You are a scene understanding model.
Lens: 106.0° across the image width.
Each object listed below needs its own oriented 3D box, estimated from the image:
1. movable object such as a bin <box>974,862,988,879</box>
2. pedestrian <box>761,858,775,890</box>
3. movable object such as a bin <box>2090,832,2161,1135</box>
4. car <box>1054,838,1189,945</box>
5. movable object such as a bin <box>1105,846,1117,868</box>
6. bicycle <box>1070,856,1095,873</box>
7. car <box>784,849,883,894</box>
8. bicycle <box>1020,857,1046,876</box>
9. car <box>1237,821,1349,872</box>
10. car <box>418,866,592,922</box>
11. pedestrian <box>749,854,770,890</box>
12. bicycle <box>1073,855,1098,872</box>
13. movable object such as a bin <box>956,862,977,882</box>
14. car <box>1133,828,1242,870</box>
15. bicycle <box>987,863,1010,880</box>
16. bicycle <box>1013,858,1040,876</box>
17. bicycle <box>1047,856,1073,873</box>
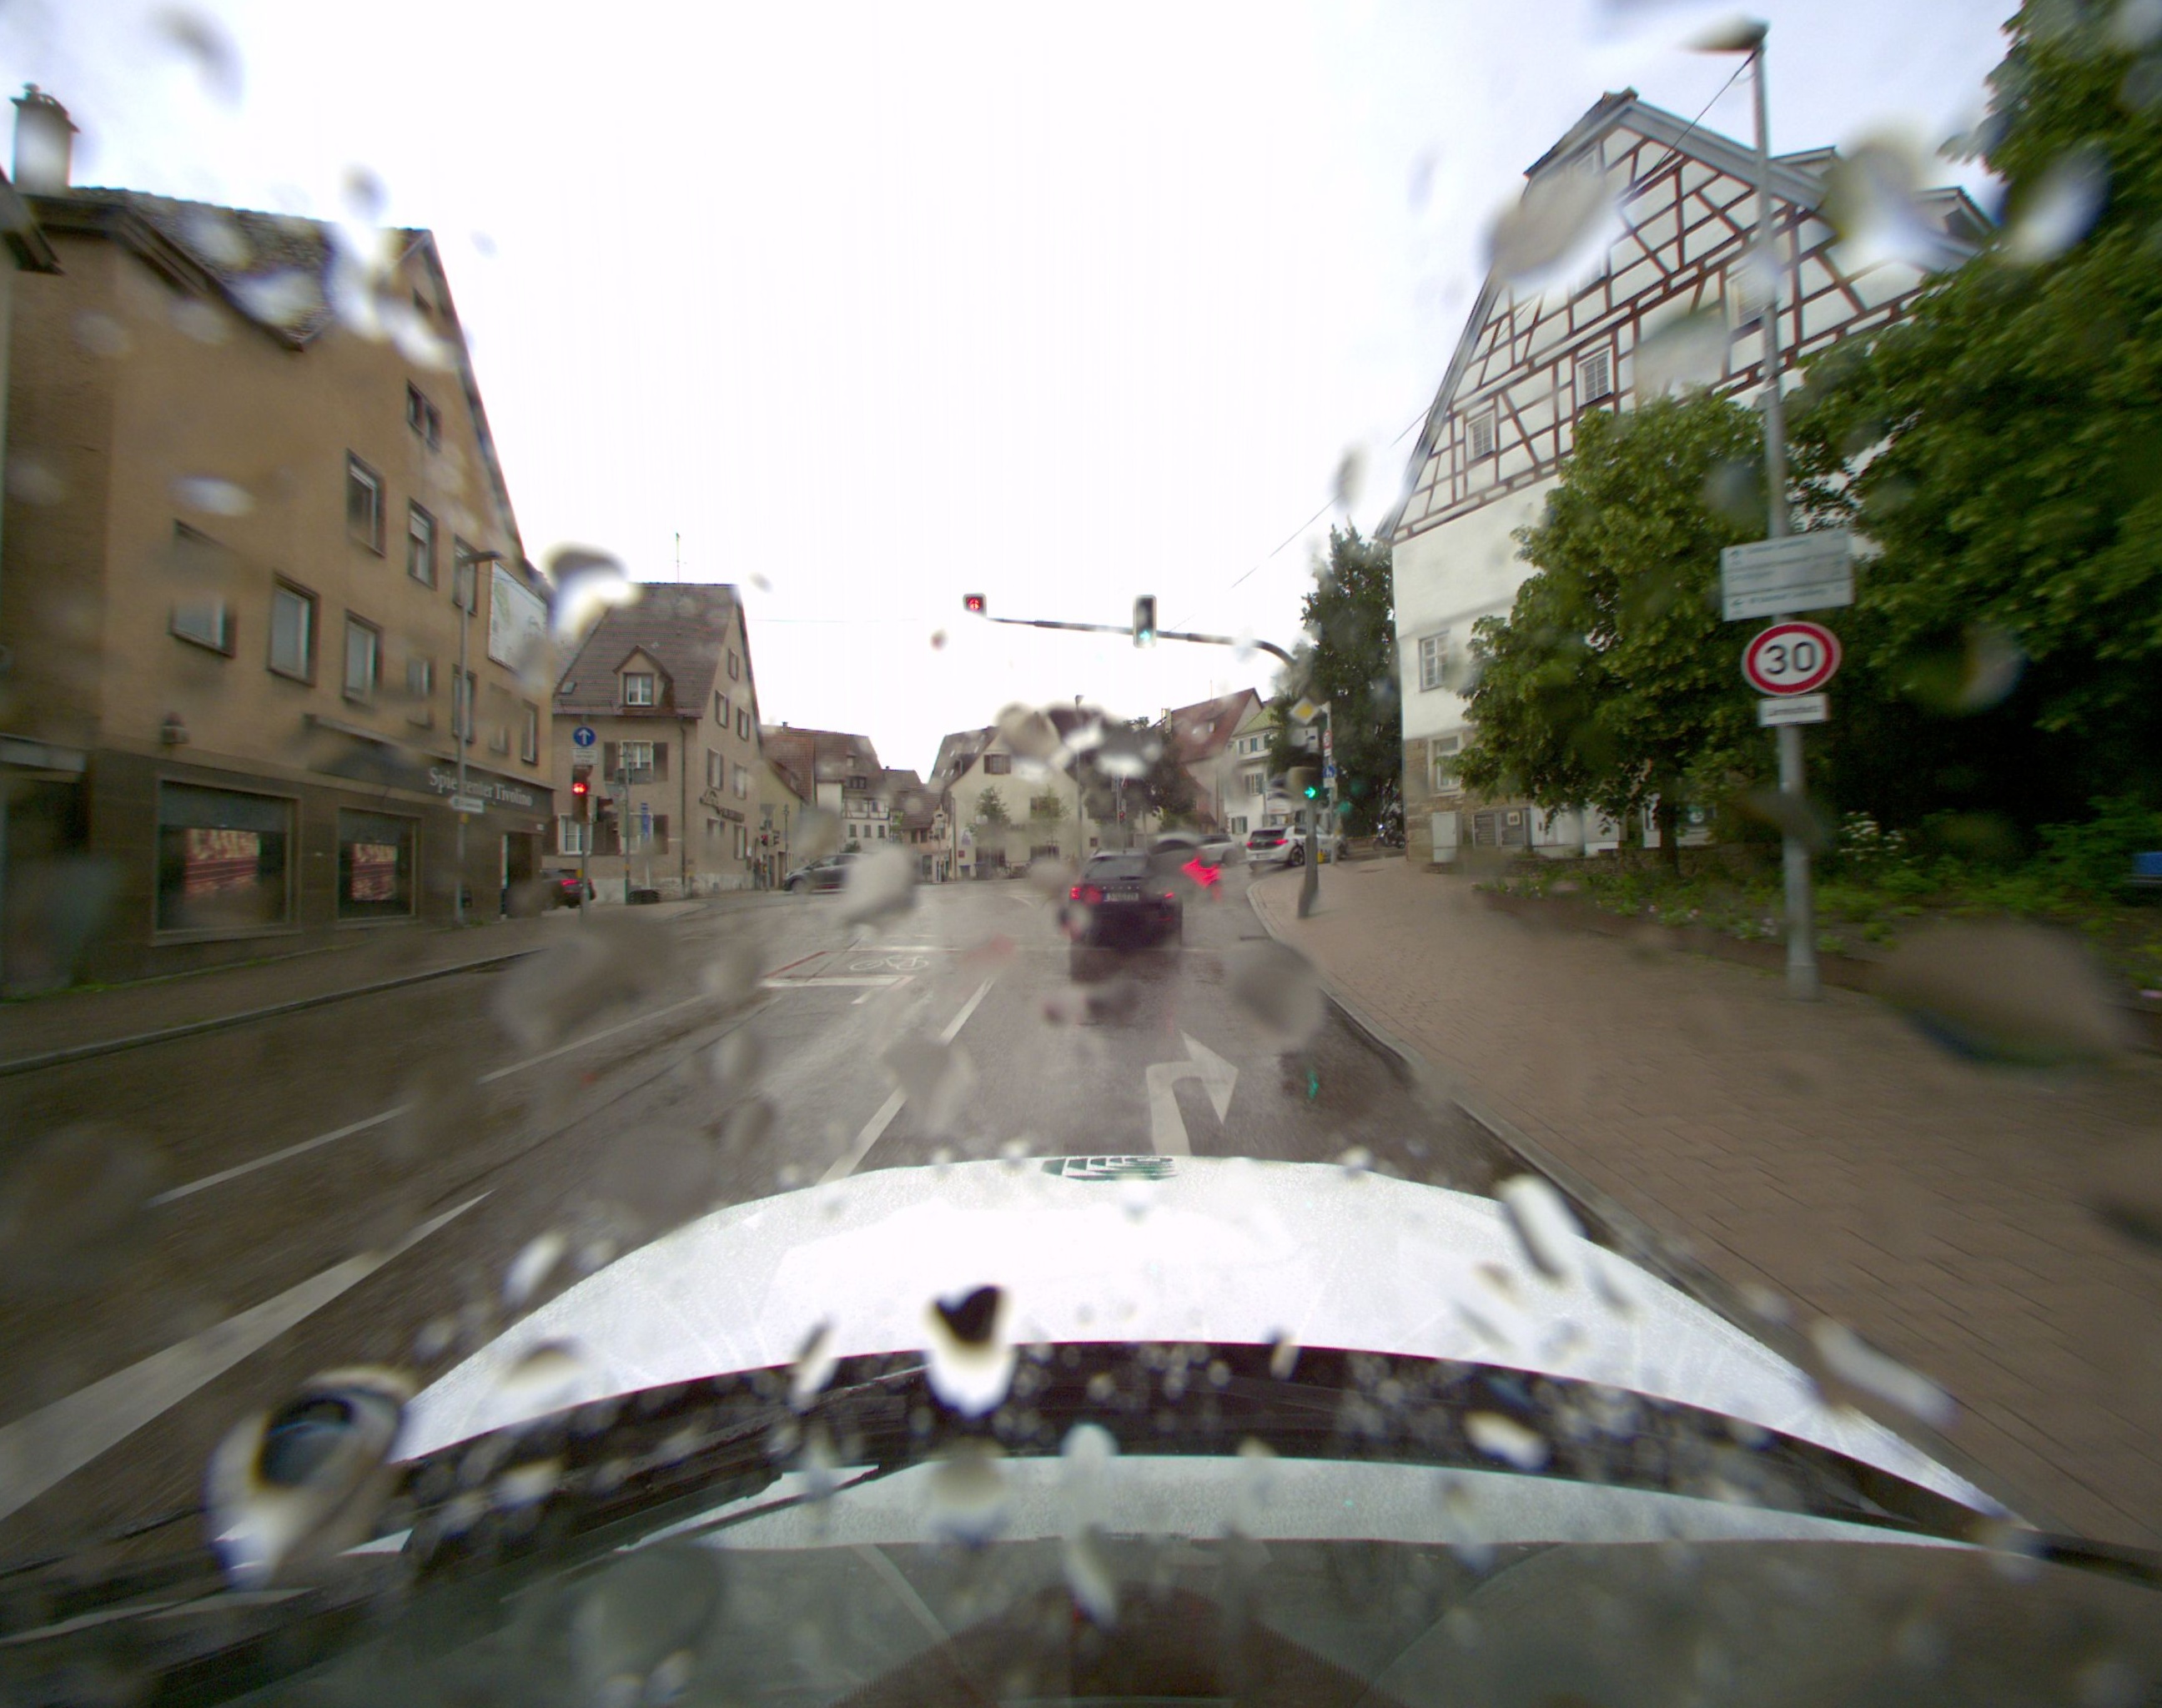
[{"bbox_3d":[-5.572,0.928,45.265,0.590,0.901,0.579,-1,0,-29],"label":"movable object such as a bin"},{"bbox_3d":[-17.306,1.103,45.006,0.553,1.729,0.537,-1,-2,-4],"label":"pedestrian"},{"bbox_3d":[5.180,0.541,3.101,1.148,1.313,1.189,-2,-1,8],"label":"movable object such as a bin"},{"bbox_3d":[0.757,0.518,14.038,1.878,1.448,4.363,-4,1,5],"label":"car"},{"bbox_3d":[1.794,0.190,48.560,0.681,1.276,0.747,0,0,-4],"label":"movable object such as a bin"},{"bbox_3d":[0.076,0.584,47.452,1.474,0.912,0.389,-2,2,-31],"label":"bicycle"},{"bbox_3d":[-9.519,0.646,31.513,3.377,1.477,1.531,-3,1,-8],"label":"car"},{"bbox_3d":[-2.634,0.691,44.895,1.478,0.912,0.388,-4,1,-43],"label":"bicycle"},{"bbox_3d":[7.256,-0.272,27.723,1.839,1.473,4.024,-3,1,45],"label":"car"},{"bbox_3d":[-20.882,1.404,29.703,4.733,1.588,1.824,-4,0,-10],"label":"car"},{"bbox_3d":[-17.013,0.962,43.113,0.801,1.830,0.708,-5,1,-28],"label":"pedestrian"},{"bbox_3d":[0.253,0.568,47.070,1.474,0.912,0.389,-2,2,-31],"label":"bicycle"},{"bbox_3d":[-6.174,0.972,43.772,0.717,0.926,0.793,-5,2,24],"label":"movable object such as a bin"},{"bbox_3d":[4.428,-0.209,33.957,3.995,1.431,1.989,-4,1,-16],"label":"car"},{"bbox_3d":[-4.449,0.931,44.174,0.334,0.818,1.446,1,3,39],"label":"bicycle"},{"bbox_3d":[-3.014,0.706,45.143,1.478,0.912,0.388,-4,1,-43],"label":"bicycle"},{"bbox_3d":[-1.195,0.579,46.574,1.474,0.912,0.389,-2,2,-31],"label":"bicycle"}]
